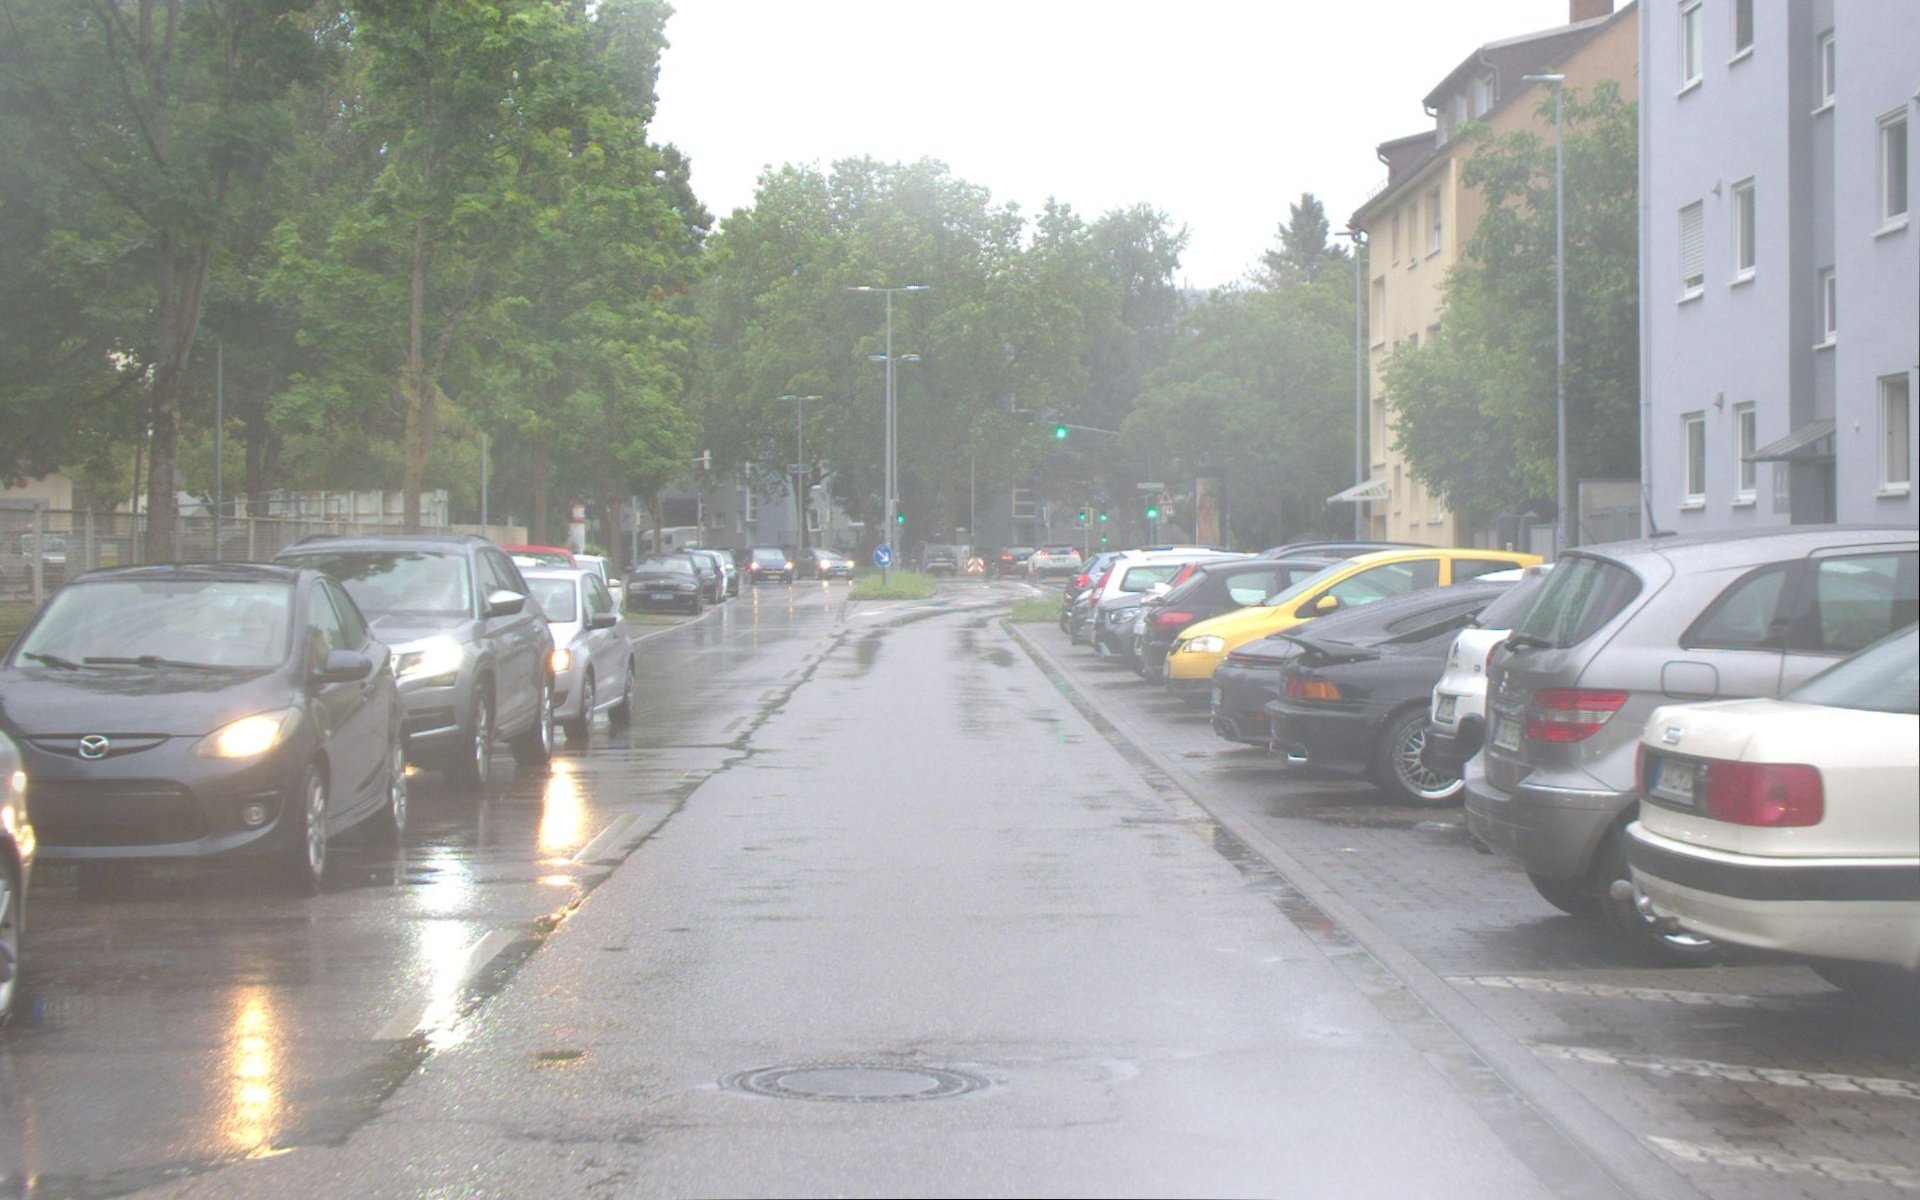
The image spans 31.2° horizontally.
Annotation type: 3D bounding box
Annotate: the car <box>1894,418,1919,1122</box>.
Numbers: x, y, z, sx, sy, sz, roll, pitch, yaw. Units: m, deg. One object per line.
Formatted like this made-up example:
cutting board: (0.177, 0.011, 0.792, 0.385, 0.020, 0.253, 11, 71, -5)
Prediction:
car: (4.611, 0.420, 8.103, 4.231, 1.799, 1.945, -1, 1, -4)

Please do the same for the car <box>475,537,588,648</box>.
car: (-6.506, -0.131, 52.467, 1.624, 1.592, 4.202, 1, 0, -6)

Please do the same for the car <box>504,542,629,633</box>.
car: (-6.921, -0.230, 60.783, 1.768, 1.523, 4.598, 1, 1, -1)

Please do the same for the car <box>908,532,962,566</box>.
car: (-1.137, -2.324, 157.185, 1.849, 1.519, 4.001, 0, 1, -10)

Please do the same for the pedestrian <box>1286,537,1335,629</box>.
pedestrian: (7.759, -0.368, 76.037, 1.011, 2.007, 0.952, 1, 0, 9)

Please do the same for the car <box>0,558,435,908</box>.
car: (-3.727, 0.534, 16.517, 1.779, 1.415, 4.265, 0, 1, 0)

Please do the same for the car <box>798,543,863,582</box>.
car: (-5.765, -1.665, 152.577, 1.740, 1.683, 4.001, 1, 1, -19)

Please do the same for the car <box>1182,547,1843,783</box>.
car: (3.676, 0.415, 23.464, 4.143, 1.481, 2.013, 1, 0, -1)

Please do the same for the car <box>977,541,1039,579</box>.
car: (1.978, -1.661, 142.427, 1.849, 1.519, 4.155, 0, 1, -10)

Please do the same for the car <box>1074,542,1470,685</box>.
car: (3.549, 0.140, 39.708, 4.341, 1.547, 2.040, 1, 0, -1)

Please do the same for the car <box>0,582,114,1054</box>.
car: (-3.711, 0.652, 9.369, 1.774, 1.398, 4.830, 1, 1, -2)

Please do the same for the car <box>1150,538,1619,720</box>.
car: (3.813, 0.250, 31.356, 3.986, 1.547, 1.853, 1, 0, -2)

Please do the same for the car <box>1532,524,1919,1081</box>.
car: (4.047, 0.558, 10.654, 4.189, 1.563, 1.889, 0, 0, -2)

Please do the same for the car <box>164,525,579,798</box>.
car: (-3.854, 0.352, 23.360, 1.914, 1.634, 4.821, 1, 1, 1)

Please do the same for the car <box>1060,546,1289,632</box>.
car: (3.825, -0.200, 61.889, 3.987, 1.456, 1.935, 1, 0, 0)

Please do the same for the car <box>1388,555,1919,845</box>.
car: (4.345, 0.498, 18.265, 3.853, 1.449, 1.837, 0, 1, -2)

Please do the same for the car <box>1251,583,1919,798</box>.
car: (3.762, 0.518, 20.925, 3.854, 1.203, 1.956, 0, 1, 1)

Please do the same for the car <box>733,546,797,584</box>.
car: (-7.856, -1.418, 138.256, 1.993, 1.480, 4.001, 1, 1, -11)

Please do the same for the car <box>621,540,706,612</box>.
car: (-6.988, -0.573, 80.807, 1.775, 1.524, 4.001, 1, 2, -8)

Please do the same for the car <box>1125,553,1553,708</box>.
car: (3.690, 0.288, 33.966, 3.987, 1.437, 1.782, 1, 0, -1)

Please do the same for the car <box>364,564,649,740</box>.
car: (-3.792, 0.389, 29.402, 1.672, 1.378, 4.252, 0, 1, 3)

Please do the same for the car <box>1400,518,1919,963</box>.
car: (3.939, 0.514, 13.266, 4.181, 1.566, 1.890, 1, 0, -2)

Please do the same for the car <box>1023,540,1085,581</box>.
car: (3.486, -1.476, 128.050, 1.849, 1.519, 4.001, 0, 1, -5)

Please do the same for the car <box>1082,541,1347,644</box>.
car: (4.009, -0.130, 54.554, 3.986, 1.547, 1.905, 1, 0, -2)

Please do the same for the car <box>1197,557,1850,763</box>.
car: (4.177, 0.427, 26.087, 4.628, 1.431, 2.000, 1, 0, 1)

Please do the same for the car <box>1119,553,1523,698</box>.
car: (3.782, 0.247, 36.572, 4.097, 1.453, 2.000, 1, 1, 1)

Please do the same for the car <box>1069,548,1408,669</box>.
car: (3.616, 0.087, 44.671, 4.270, 1.449, 1.984, 1, 2, 5)

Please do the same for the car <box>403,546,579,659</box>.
car: (-6.372, 0.014, 47.099, 1.661, 1.455, 4.173, 1, 1, 2)

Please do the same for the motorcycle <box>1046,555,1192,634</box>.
motorcycle: (2.722, -0.097, 59.008, 2.398, 1.319, 0.920, 1, 0, -5)

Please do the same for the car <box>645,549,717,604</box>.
car: (-7.745, -0.683, 95.607, 1.928, 1.479, 4.001, 0, 1, -4)
